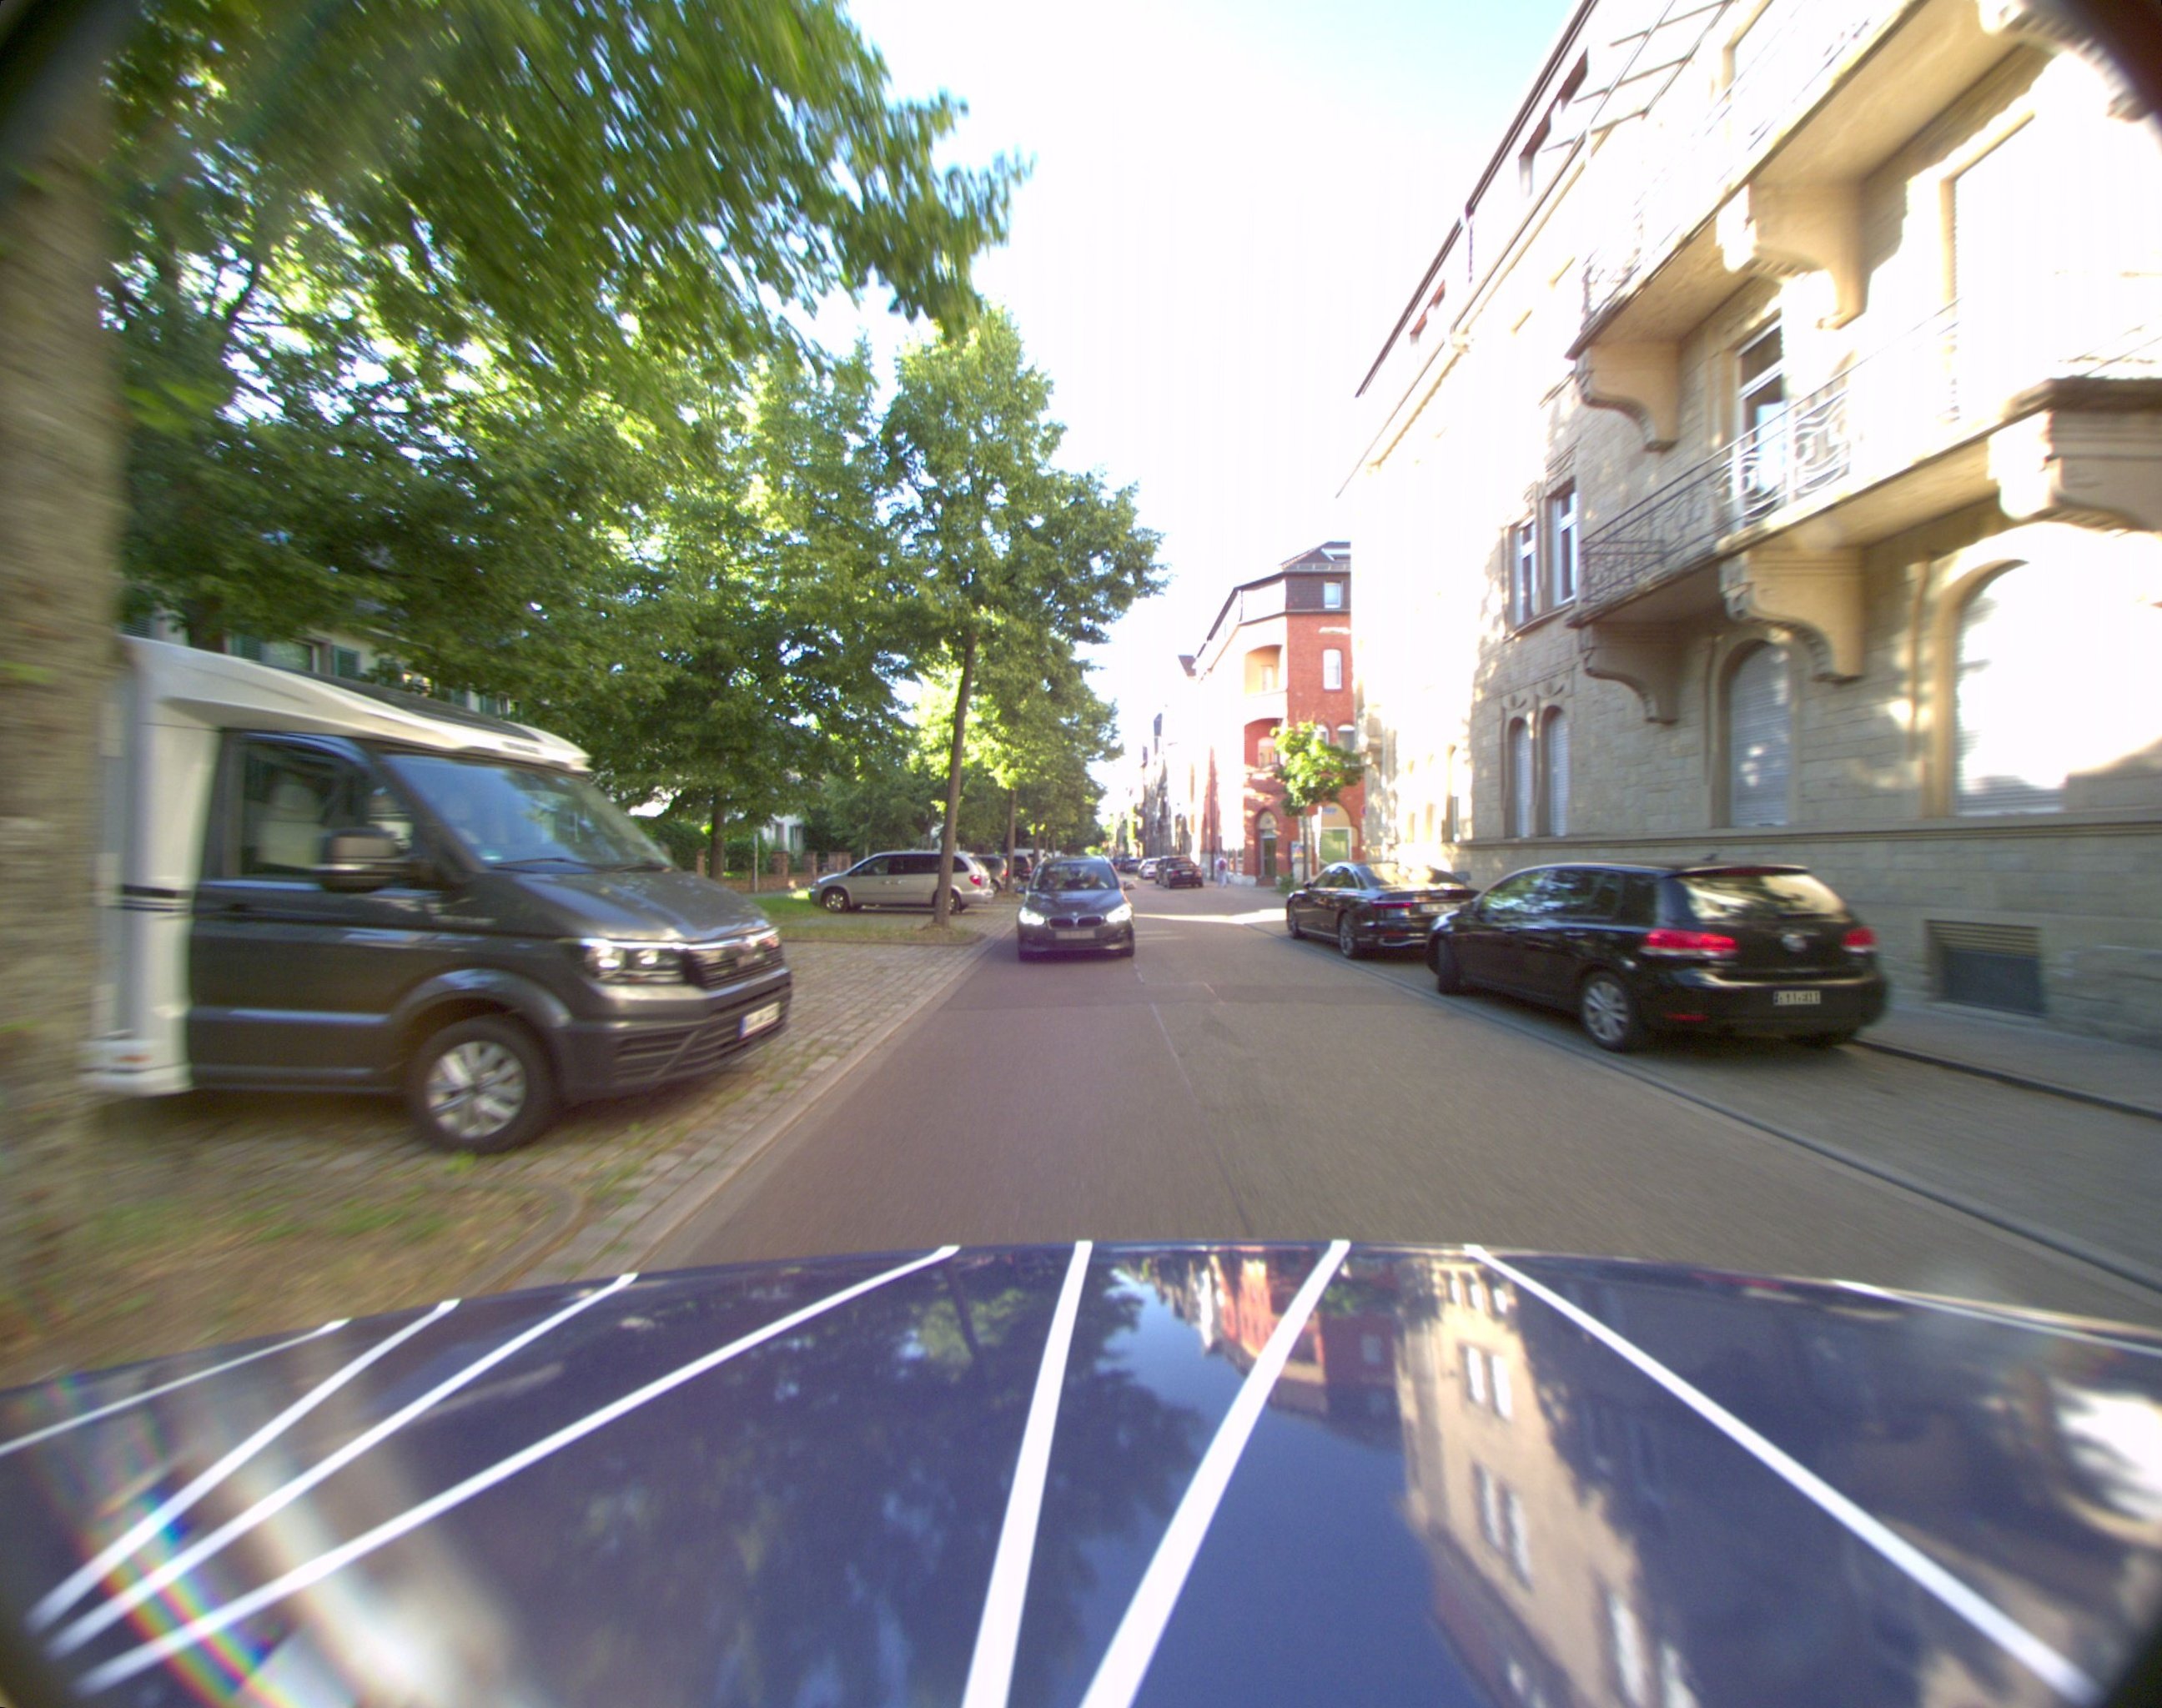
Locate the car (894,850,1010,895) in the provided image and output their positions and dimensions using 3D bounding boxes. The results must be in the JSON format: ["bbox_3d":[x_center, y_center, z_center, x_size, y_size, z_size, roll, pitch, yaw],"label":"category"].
[{"bbox_3d":[-5.262,0.752,31.600,4.552,1.624,1.811,3,0,-5],"label":"car"}]

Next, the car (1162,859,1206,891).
[{"bbox_3d":[5.226,1.016,39.048,1.640,1.402,4.333,-3,0,1],"label":"car"}]

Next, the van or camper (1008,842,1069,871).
[{"bbox_3d":[-4.167,0.233,74.778,5.734,2.502,2.162,3,0,0],"label":"van or camper"}]

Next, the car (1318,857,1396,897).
[{"bbox_3d":[11.456,0.907,31.887,1.640,1.460,4.657,-1,0,1],"label":"car"}]

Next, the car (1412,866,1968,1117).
[{"bbox_3d":[4.711,0.899,6.795,1.700,1.445,4.027,-1,1,-1],"label":"car"}]

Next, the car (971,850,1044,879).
[{"bbox_3d":[-4.740,0.691,49.390,4.487,1.624,1.875,3,0,0],"label":"car"}]

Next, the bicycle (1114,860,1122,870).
[{"bbox_3d":[4.301,1.321,88.110,0.759,1.101,1.907,0,1,0],"label":"bicycle"}]

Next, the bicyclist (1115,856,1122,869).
[{"bbox_3d":[4.300,0.994,88.160,0.761,1.445,0.948,0,1,0],"label":"bicyclist"}]

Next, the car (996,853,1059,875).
[{"bbox_3d":[-4.276,0.778,61.324,4.850,1.530,1.894,3,0,-1],"label":"car"}]

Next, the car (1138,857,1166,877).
[{"bbox_3d":[5.501,1.005,59.370,1.681,1.434,4.111,-2,0,-1],"label":"car"}]

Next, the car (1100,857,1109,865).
[{"bbox_3d":[4.543,1.421,148.686,1.631,1.469,3.759,1,0,-1],"label":"car"}]

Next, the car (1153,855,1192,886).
[{"bbox_3d":[5.326,0.902,44.742,1.673,1.671,4.349,-1,0,-1],"label":"car"}]

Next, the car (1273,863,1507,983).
[{"bbox_3d":[4.708,0.940,12.500,1.816,1.418,4.897,-3,0,0],"label":"car"}]

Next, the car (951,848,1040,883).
[{"bbox_3d":[-4.712,0.642,42.121,4.592,1.667,1.907,3,0,2],"label":"car"}]

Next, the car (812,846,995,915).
[{"bbox_3d":[-4.858,0.712,21.219,4.630,1.699,1.833,2,0,2],"label":"car"}]

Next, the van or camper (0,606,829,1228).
[{"bbox_3d":[-5.614,0.163,4.710,7.163,2.631,2.465,3,0,2],"label":"van or camper"}]

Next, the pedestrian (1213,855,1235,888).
[{"bbox_3d":[7.067,0.847,37.554,0.890,1.568,1.053,-1,2,1],"label":"pedestrian"}]

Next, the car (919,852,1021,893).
[{"bbox_3d":[-5.018,0.819,34.651,4.282,1.624,1.691,3,0,4],"label":"car"}]

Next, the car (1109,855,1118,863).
[{"bbox_3d":[6.868,0.980,160.221,1.710,1.496,3.629,-4,-1,2],"label":"car"}]

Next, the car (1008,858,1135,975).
[{"bbox_3d":[-0.091,0.913,13.140,1.753,1.596,4.551,-3,0,1],"label":"car"}]

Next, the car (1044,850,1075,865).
[{"bbox_3d":[-3.827,0.563,135.649,5.448,2.646,2.134,0,0,1],"label":"car"}]

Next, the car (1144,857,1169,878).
[{"bbox_3d":[5.403,0.954,54.454,1.570,1.461,3.592,-1,0,2],"label":"car"}]

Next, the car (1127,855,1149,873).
[{"bbox_3d":[5.614,0.969,75.615,1.881,1.707,4.339,-1,0,1],"label":"car"}]

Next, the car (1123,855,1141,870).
[{"bbox_3d":[5.869,0.952,87.181,1.774,1.493,4.211,0,1,0],"label":"car"}]

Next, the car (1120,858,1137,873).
[{"bbox_3d":[5.863,1.379,93.746,1.774,1.658,4.212,-1,1,0],"label":"car"}]

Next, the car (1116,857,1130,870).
[{"bbox_3d":[5.510,1.258,99.251,1.633,1.439,3.856,-4,-1,2],"label":"car"}]
